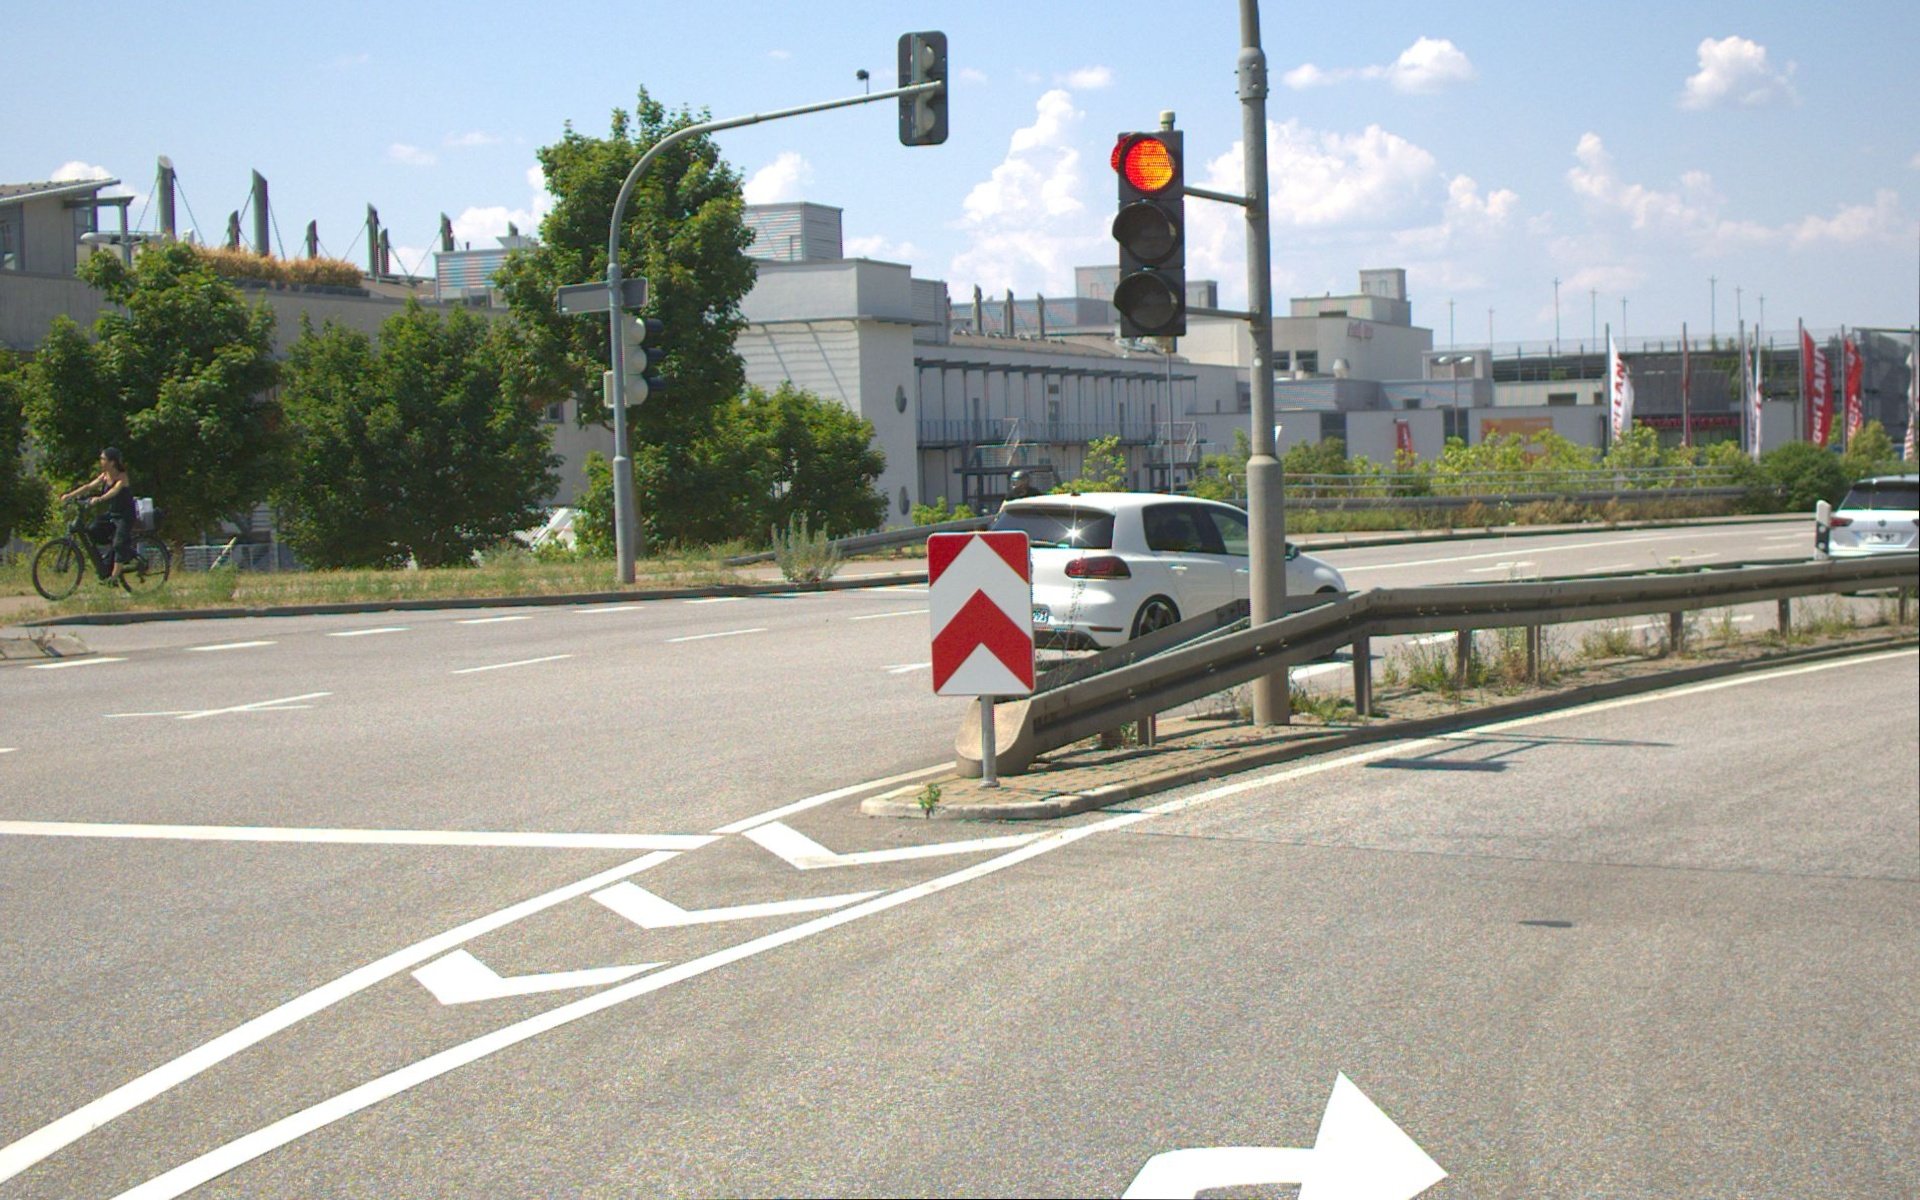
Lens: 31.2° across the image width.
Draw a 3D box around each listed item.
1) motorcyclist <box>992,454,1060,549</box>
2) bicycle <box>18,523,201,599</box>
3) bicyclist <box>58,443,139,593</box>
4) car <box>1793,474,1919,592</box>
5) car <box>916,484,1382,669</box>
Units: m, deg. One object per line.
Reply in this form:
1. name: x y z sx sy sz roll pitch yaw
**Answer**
1. motorcyclist: 0.923 -1.374 47.965 0.675 1.298 0.722 -2 1 25
2. bicycle: -9.922 -0.462 40.156 0.535 0.850 2.122 3 3 44
3. bicyclist: -10.028 -0.959 40.026 0.531 1.711 0.729 3 3 44
4. car: 13.157 -0.958 47.154 1.997 1.500 4.388 -2 1 33
5. car: 1.702 -0.255 29.762 1.998 1.481 4.126 2 2 39
